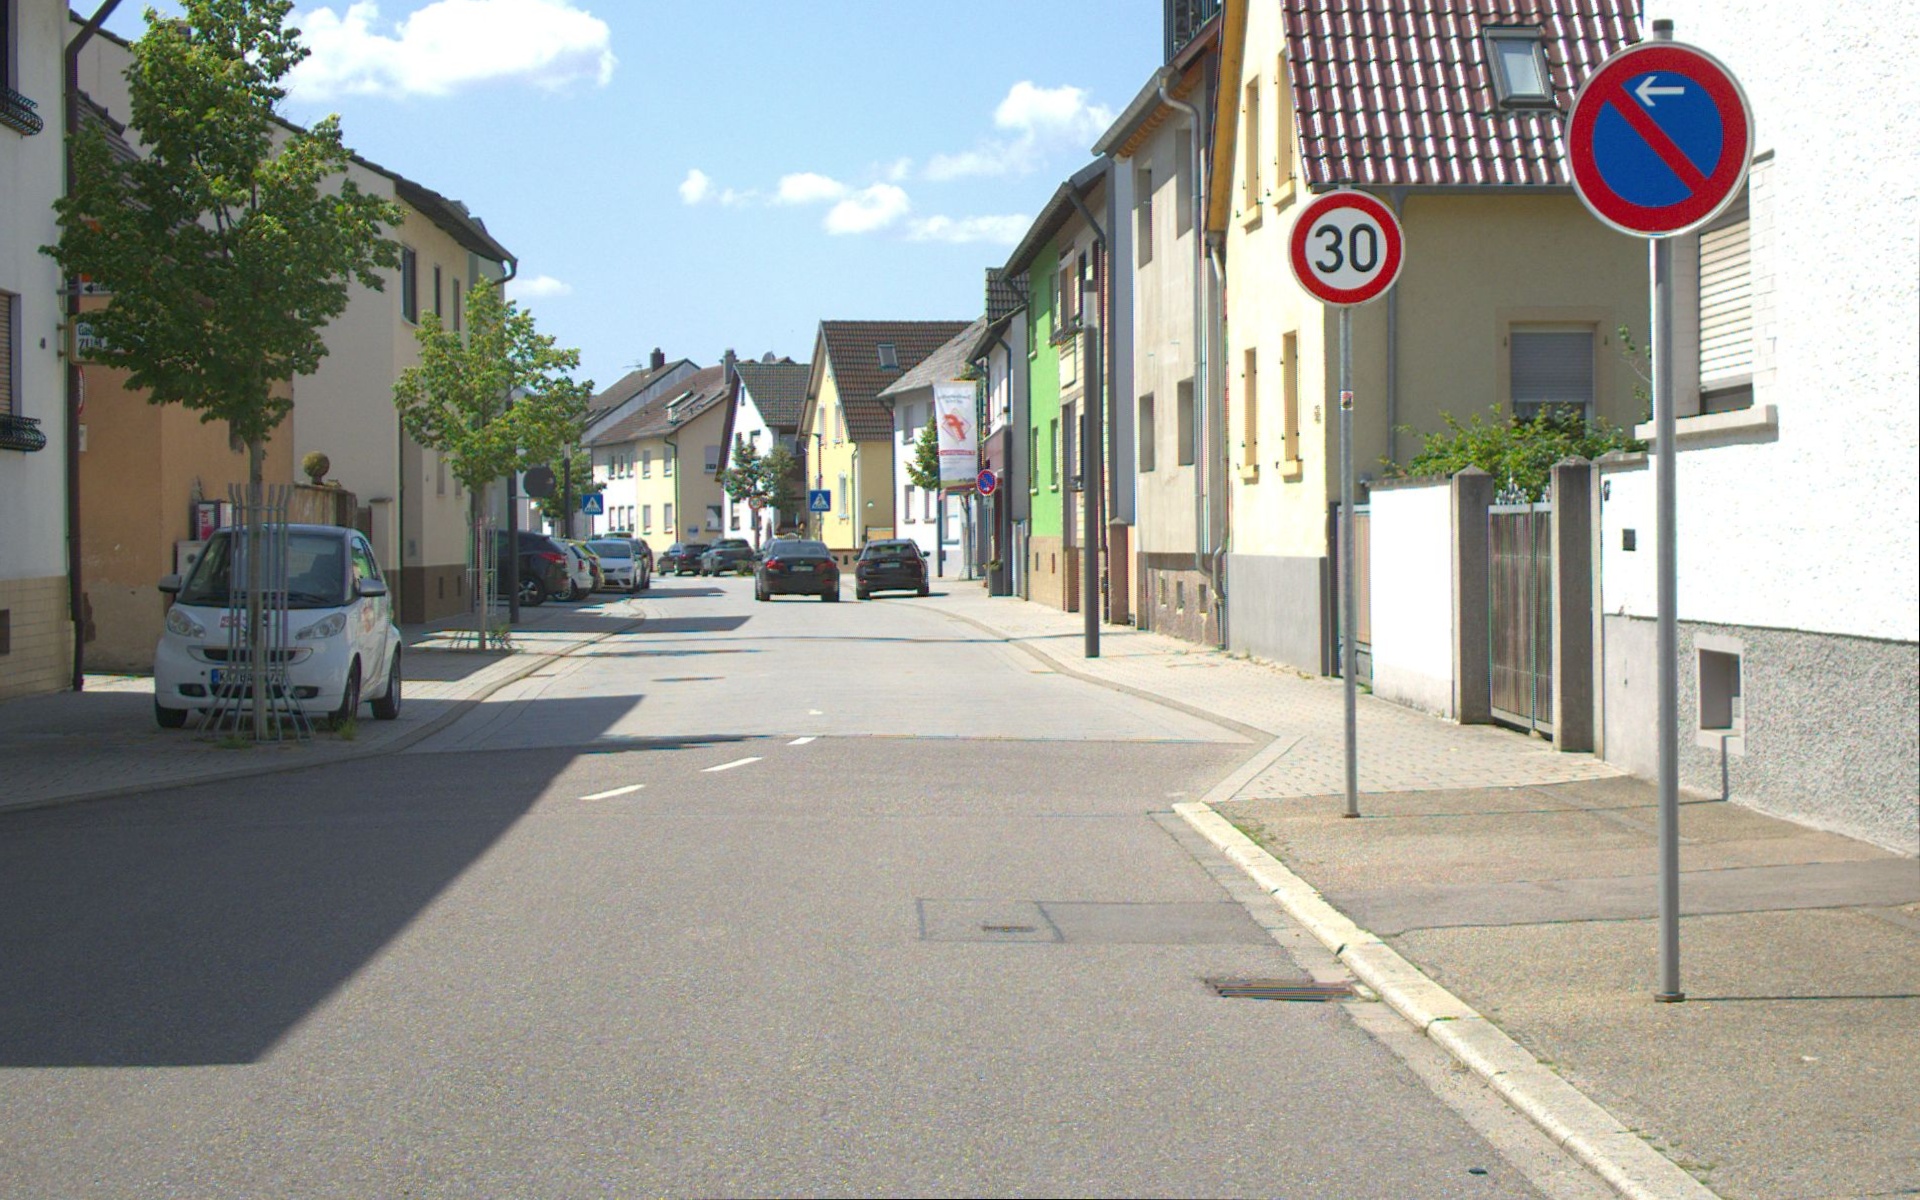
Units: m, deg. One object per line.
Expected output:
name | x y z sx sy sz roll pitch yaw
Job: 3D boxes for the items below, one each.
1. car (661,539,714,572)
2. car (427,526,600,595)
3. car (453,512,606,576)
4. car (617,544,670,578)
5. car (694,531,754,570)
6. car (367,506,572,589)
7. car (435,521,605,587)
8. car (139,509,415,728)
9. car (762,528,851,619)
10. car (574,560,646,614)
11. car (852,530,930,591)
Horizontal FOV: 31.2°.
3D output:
car | -11.966 -1.962 150.964 1.710 1.382 3.707 -1 1 -14
car | -10.709 -0.968 82.702 3.901 1.497 1.751 2 1 -1
car | -11.014 -1.439 88.071 3.692 1.520 1.673 2 1 -2
car | -15.122 -1.864 164.181 1.877 1.586 4.001 -1 1 -14
car | -9.852 -2.076 143.466 1.846 1.557 3.695 -1 1 -14
car | -10.640 -1.145 74.723 4.218 1.652 1.785 2 1 -3
car | -10.851 -1.143 84.964 3.986 1.437 1.691 2 1 -2
car | -5.252 0.112 26.706 1.572 1.556 2.822 2 1 -1
car | -3.640 -0.658 80.955 1.993 2.051 4.375 -1 1 -3
car | -9.799 -0.376 96.401 1.757 1.406 3.878 2 1 -2
car | -1.734 -1.020 87.312 1.858 1.454 4.586 -2 1 -1
